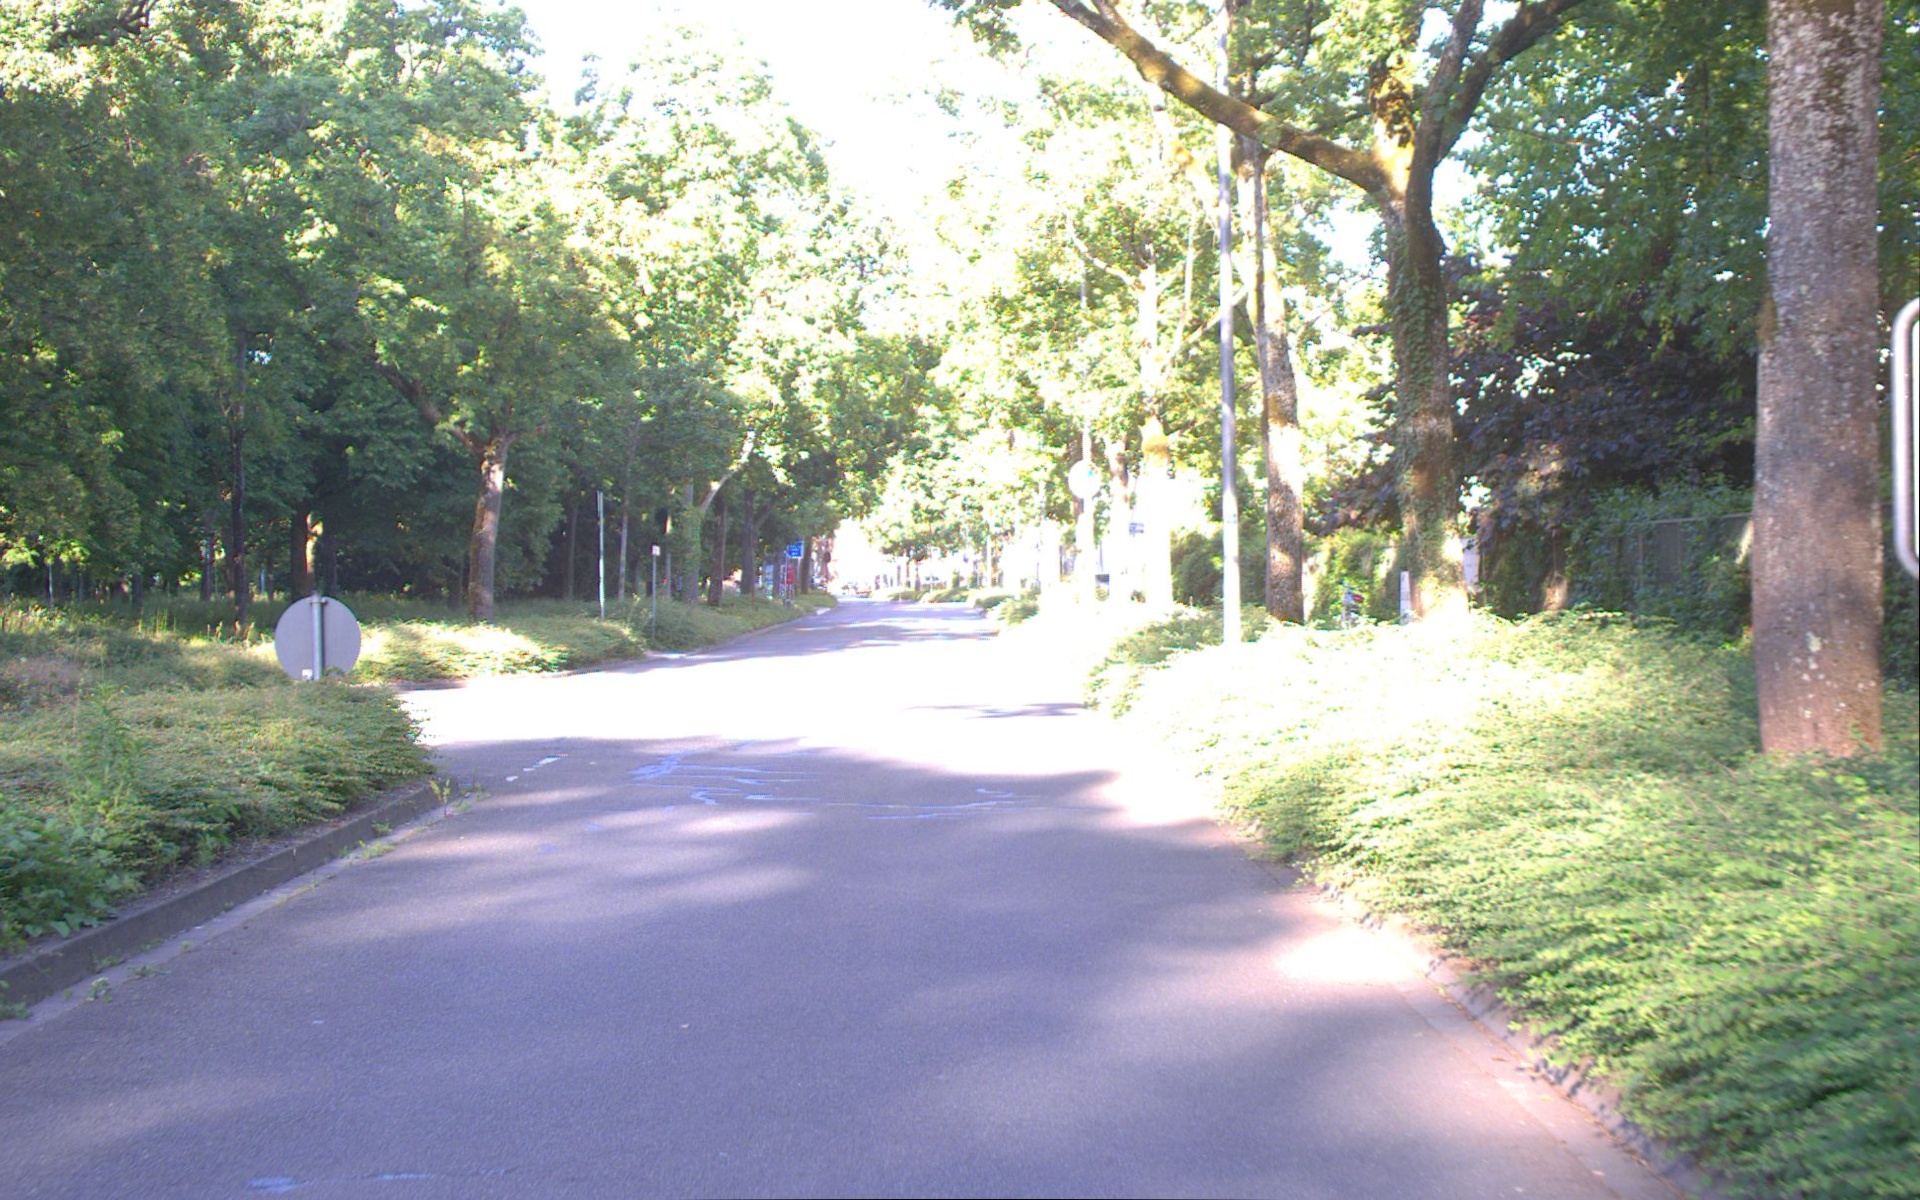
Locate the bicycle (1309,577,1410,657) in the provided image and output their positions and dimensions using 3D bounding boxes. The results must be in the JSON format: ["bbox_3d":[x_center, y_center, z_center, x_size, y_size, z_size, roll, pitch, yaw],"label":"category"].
[{"bbox_3d":[6.481,0.268,55.662,0.884,1.196,2.323,-3,0,25],"label":"bicycle"}]
